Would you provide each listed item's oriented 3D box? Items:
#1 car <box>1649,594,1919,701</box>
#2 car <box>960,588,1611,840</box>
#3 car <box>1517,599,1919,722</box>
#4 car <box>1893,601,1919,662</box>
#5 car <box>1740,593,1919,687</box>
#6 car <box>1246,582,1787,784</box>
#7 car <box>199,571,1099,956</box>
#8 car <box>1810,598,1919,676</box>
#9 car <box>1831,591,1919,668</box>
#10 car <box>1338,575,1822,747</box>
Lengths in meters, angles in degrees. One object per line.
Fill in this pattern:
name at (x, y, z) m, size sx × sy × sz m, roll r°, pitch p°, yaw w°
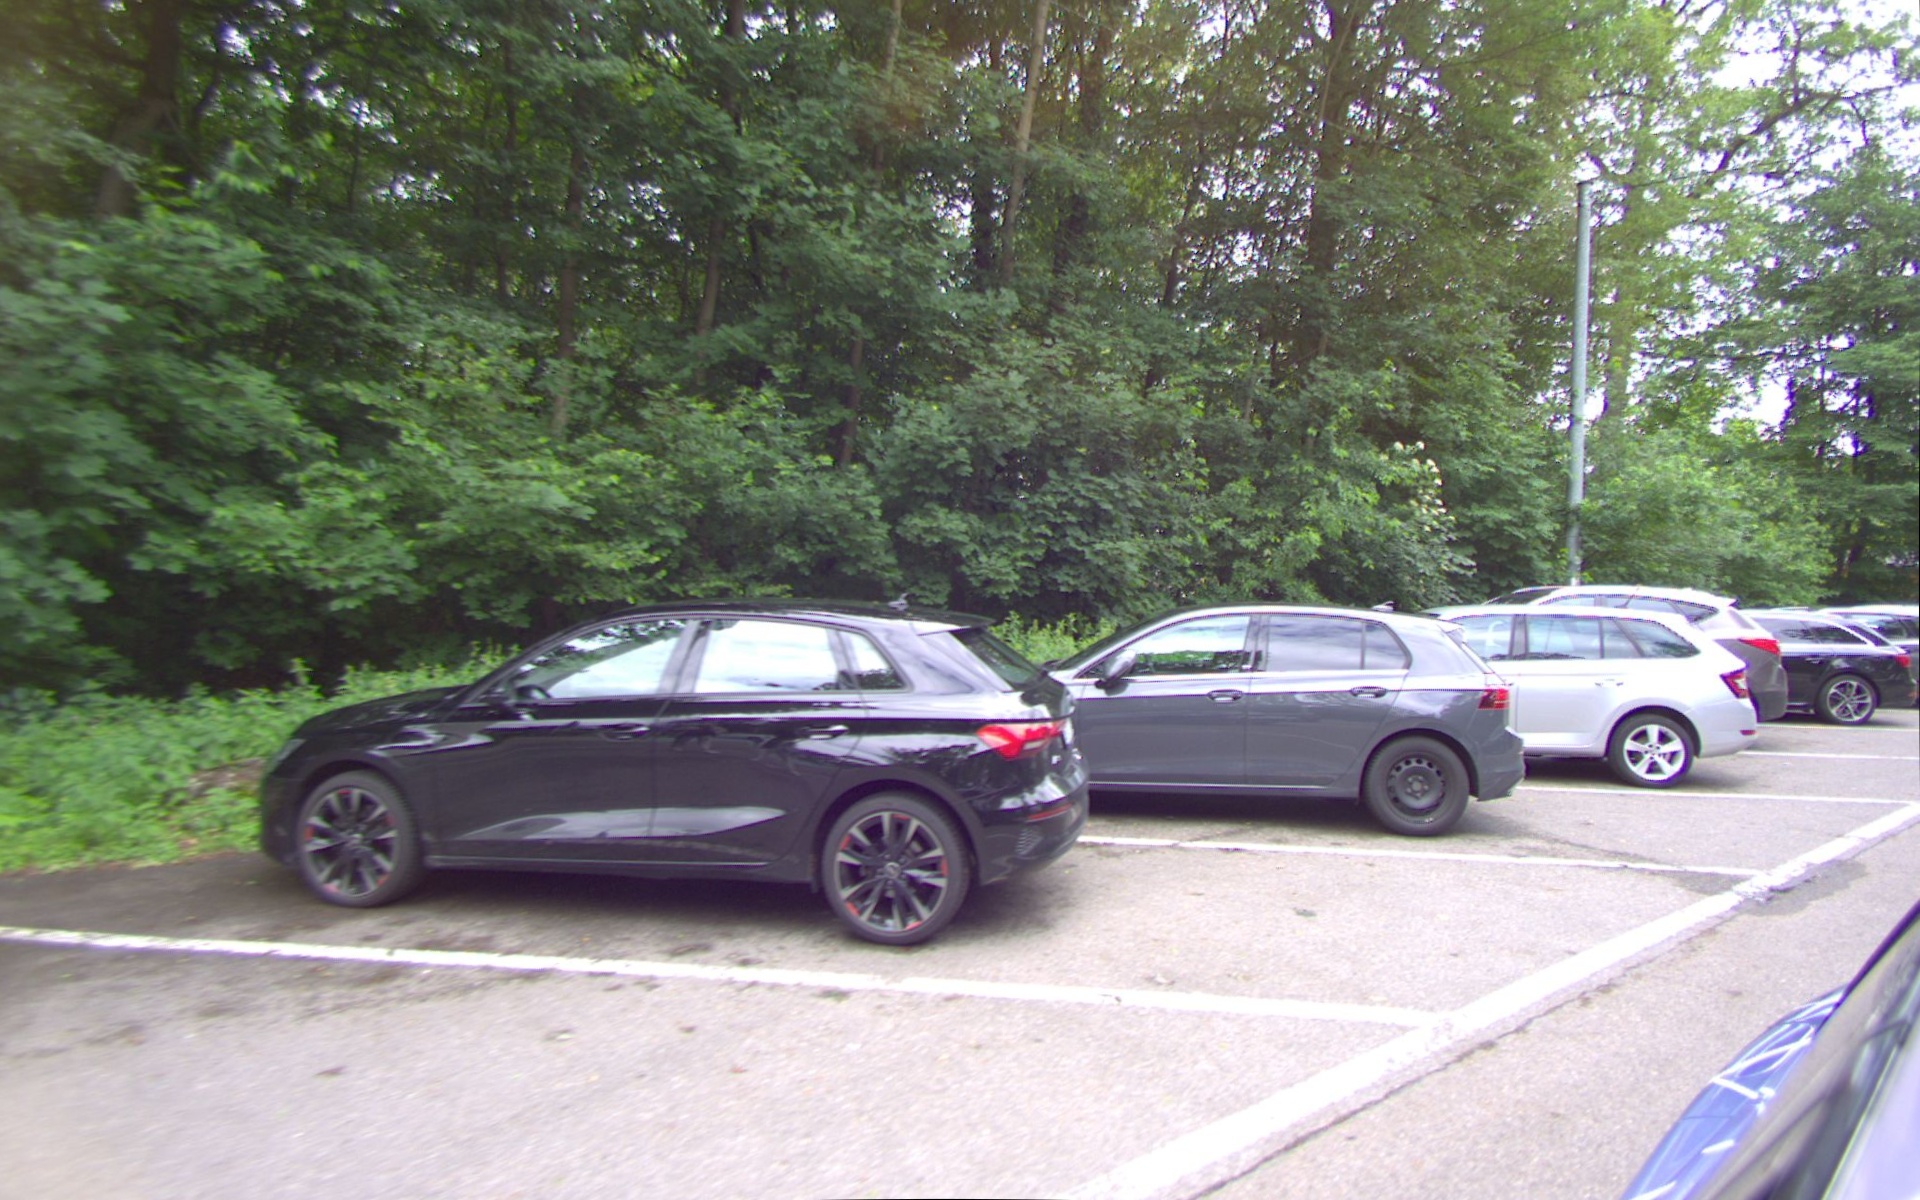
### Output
car at (13.316, 0.687, 15.506) m, size 4.119 × 1.476 × 1.800 m, roll 1°, pitch 1°, yaw 10°
car at (2.094, 0.674, 7.341) m, size 3.934 × 1.440 × 1.905 m, roll 1°, pitch 0°, yaw 9°
car at (10.124, 0.741, 13.543) m, size 4.190 × 1.395 × 1.961 m, roll 1°, pitch 1°, yaw 8°
car at (25.196, 0.802, 24.019) m, size 4.057 × 1.457 × 1.863 m, roll 1°, pitch 0°, yaw 13°
car at (16.151, 0.682, 17.700) m, size 3.527 × 1.523 × 1.729 m, roll 1°, pitch 1°, yaw 12°
car at (4.732, 0.636, 9.272) m, size 3.941 × 1.485 × 1.827 m, roll 2°, pitch 0°, yaw 14°
car at (-1.389, 0.633, 5.333) m, size 4.137 × 1.481 × 1.893 m, roll 1°, pitch 0°, yaw 10°
car at (19.589, 0.724, 19.683) m, size 4.233 × 1.431 × 1.920 m, roll 1°, pitch 0°, yaw 14°
car at (22.015, 0.649, 22.132) m, size 4.057 × 1.638 × 1.835 m, roll 1°, pitch 0°, yaw 13°
car at (6.700, 0.591, 11.462) m, size 4.193 × 1.657 × 1.960 m, roll 1°, pitch 0°, yaw 10°
